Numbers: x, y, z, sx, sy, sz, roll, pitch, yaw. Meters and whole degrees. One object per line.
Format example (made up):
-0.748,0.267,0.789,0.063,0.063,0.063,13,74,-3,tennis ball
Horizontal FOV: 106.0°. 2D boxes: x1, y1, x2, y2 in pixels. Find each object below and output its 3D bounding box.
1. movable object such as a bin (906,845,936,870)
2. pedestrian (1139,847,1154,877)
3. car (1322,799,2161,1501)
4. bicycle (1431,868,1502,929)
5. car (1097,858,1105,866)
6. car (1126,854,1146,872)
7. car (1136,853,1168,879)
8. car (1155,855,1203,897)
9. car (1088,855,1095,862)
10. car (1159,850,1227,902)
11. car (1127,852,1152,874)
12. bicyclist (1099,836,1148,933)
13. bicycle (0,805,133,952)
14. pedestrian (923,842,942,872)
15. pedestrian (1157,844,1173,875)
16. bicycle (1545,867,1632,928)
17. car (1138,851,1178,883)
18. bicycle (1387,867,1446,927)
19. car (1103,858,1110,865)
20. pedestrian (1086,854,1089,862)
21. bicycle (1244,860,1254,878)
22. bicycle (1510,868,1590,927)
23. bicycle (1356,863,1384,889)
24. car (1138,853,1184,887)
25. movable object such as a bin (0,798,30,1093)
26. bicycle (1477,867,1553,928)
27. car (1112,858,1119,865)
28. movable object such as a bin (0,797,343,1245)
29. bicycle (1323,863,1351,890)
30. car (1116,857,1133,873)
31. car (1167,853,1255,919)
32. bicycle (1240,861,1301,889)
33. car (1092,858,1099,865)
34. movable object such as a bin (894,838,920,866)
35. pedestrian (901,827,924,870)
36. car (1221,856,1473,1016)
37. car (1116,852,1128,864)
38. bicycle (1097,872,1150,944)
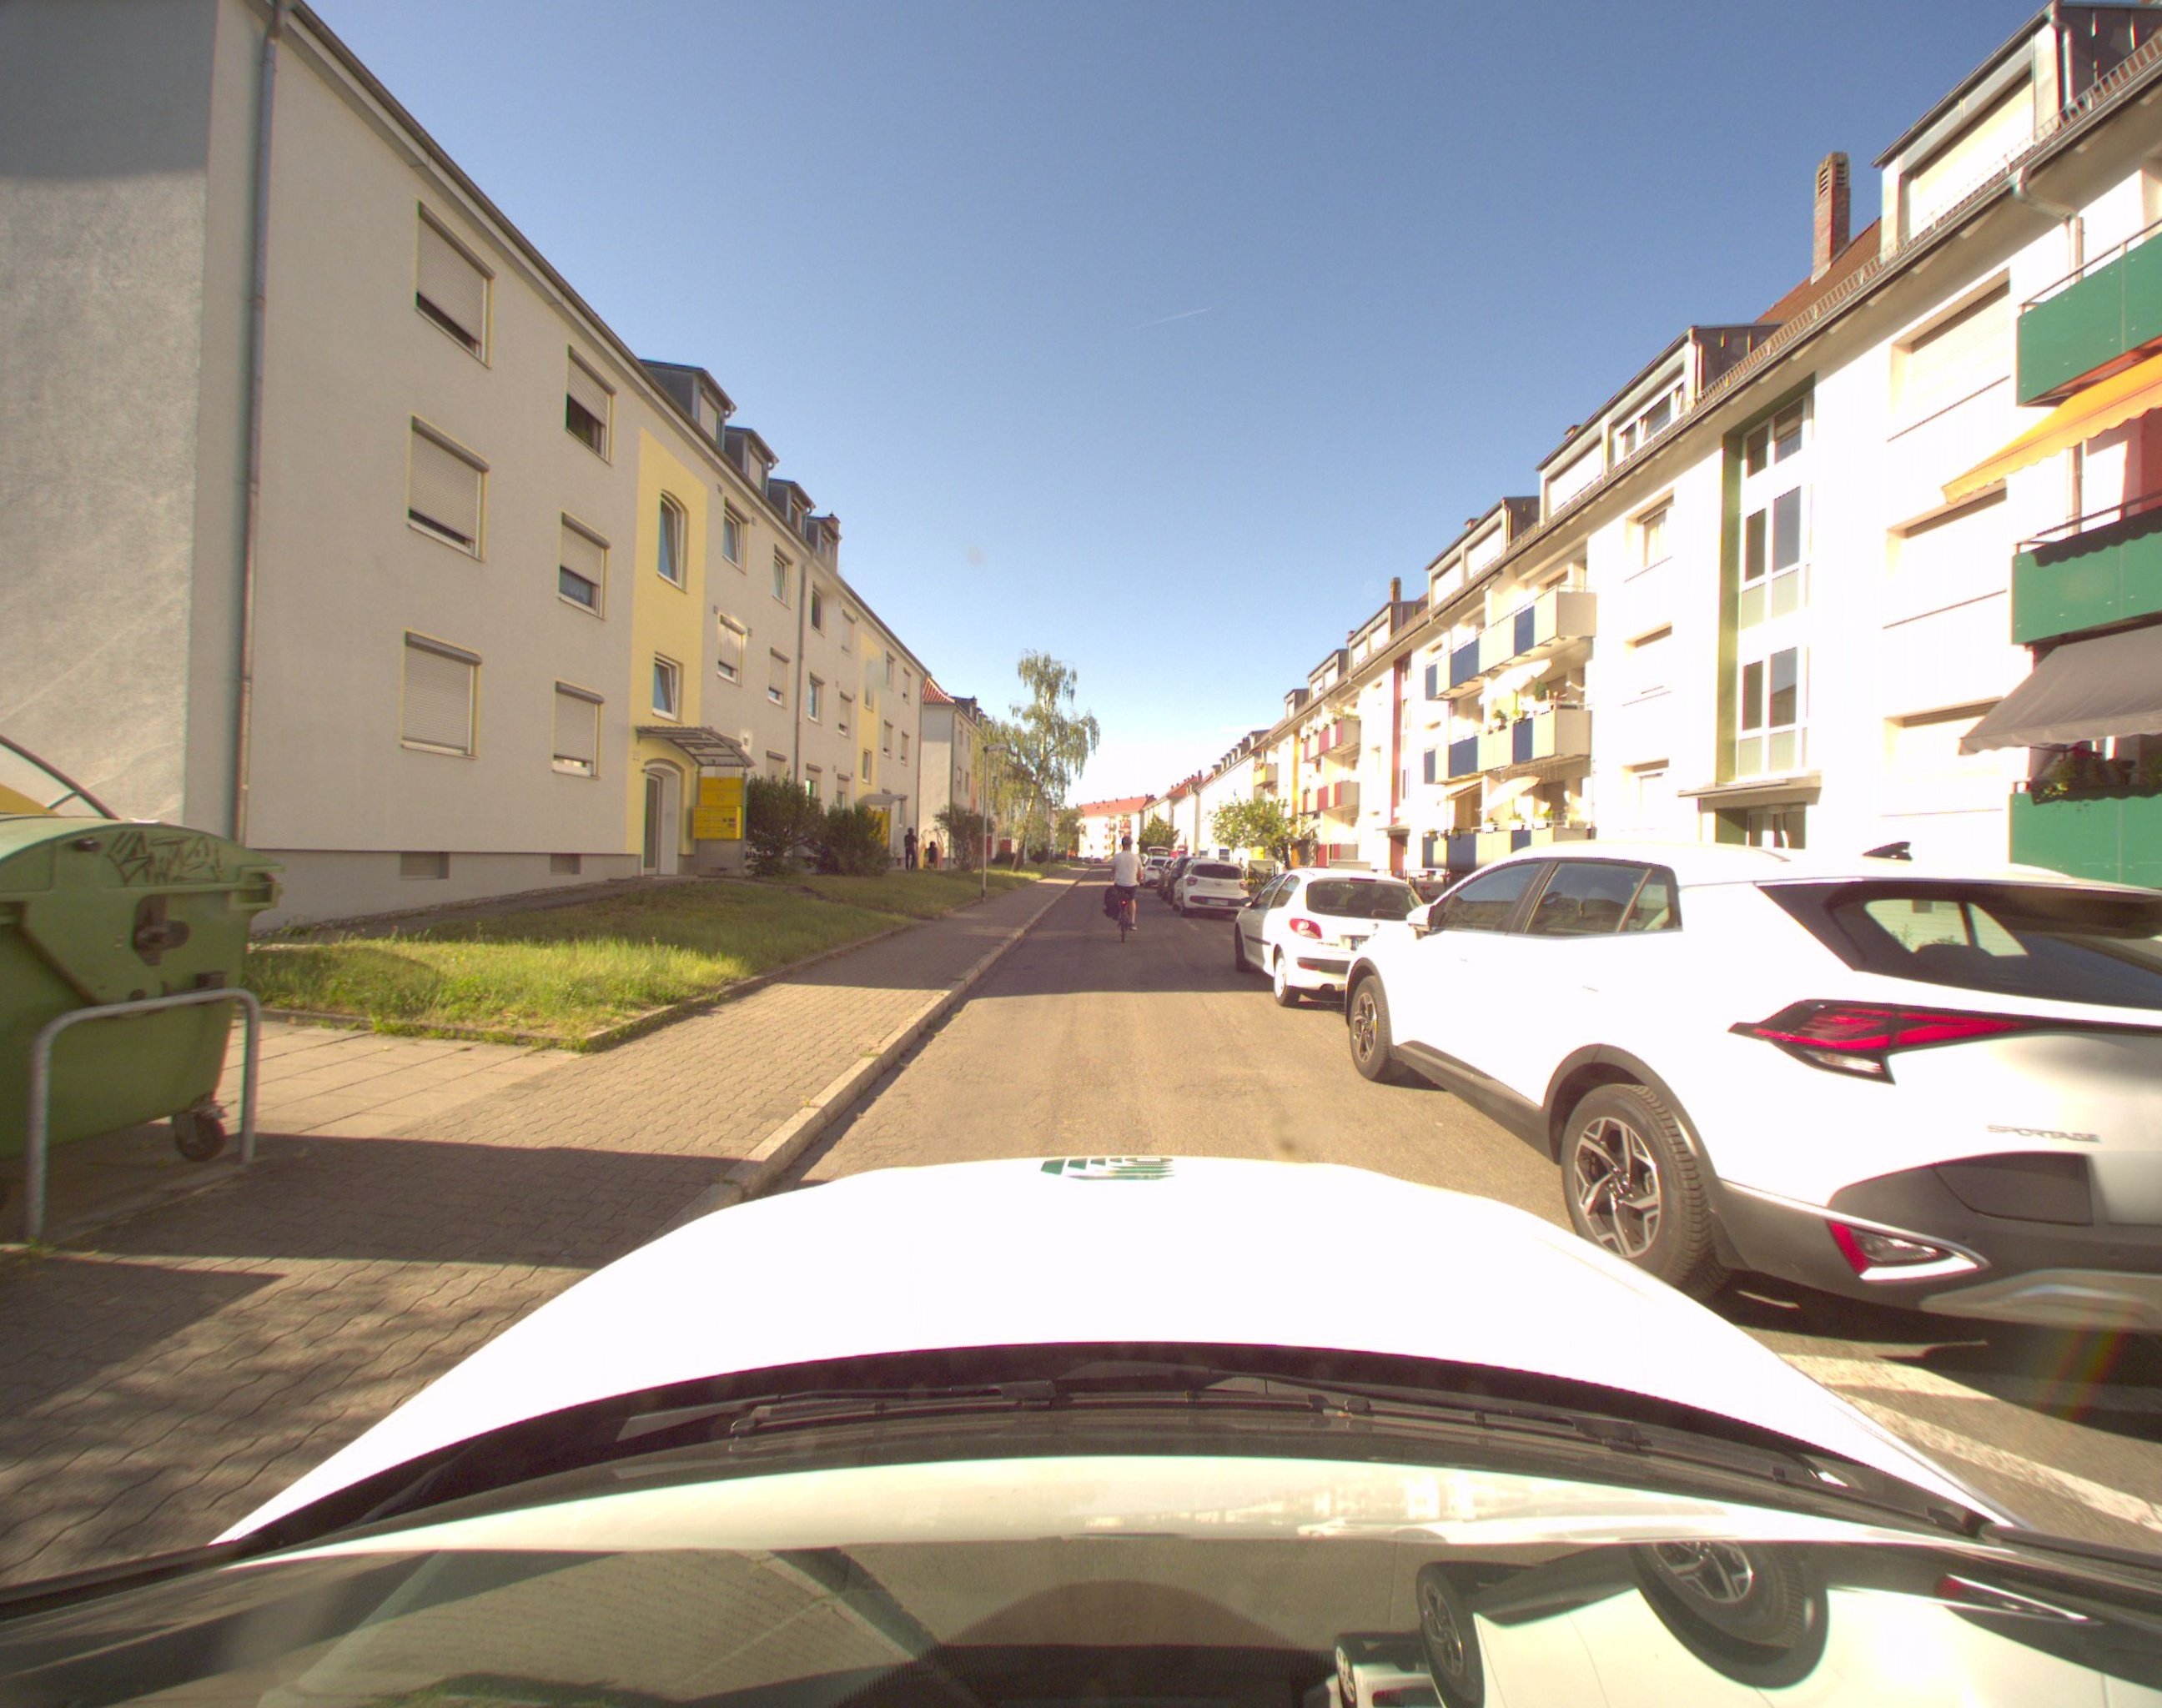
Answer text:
-9.034,0.201,45.982,1.383,1.336,1.228,3,0,1,movable object such as a bin
3.532,0.434,43.924,0.737,1.575,0.880,0,0,1,pedestrian
2.810,0.711,4.176,1.794,1.592,4.582,3,0,1,car
7.721,0.862,16.397,0.575,1.132,1.873,-1,0,1,bicycle
4.068,1.604,162.655,1.465,1.335,3.140,2,0,0,car
4.784,0.752,70.996,1.635,1.498,4.159,1,0,3,car
4.421,0.706,51.243,1.688,1.491,3.984,3,0,1,car
3.826,0.830,32.220,1.639,1.449,4.065,3,0,4,car
2.215,0.956,173.790,1.465,1.335,3.138,-2,0,-2,car
3.618,0.660,26.981,1.717,1.578,4.353,0,0,1,car
4.705,0.701,65.897,1.776,1.648,4.471,3,0,3,car
0.731,0.522,14.357,0.806,1.643,0.898,0,0,-1,bicyclist
-9.482,0.199,6.826,0.638,1.250,2.010,2,0,2,bicycle
-6.508,0.136,35.614,0.683,1.317,0.576,1,-1,2,pedestrian
4.537,0.294,44.058,0.816,1.687,0.604,0,0,1,pedestrian
10.105,0.831,16.298,0.594,1.116,1.873,-1,0,1,bicycle
4.262,0.674,45.814,1.985,1.613,5.000,3,0,4,car
7.034,0.874,17.153,0.542,1.170,1.874,-1,0,3,bicycle
5.964,1.845,191.828,1.465,1.516,3.076,2,0,0,car
1.268,0.750,158.927,0.433,1.574,0.543,0,0,1,pedestrian
10.595,0.926,51.439,0.401,1.087,1.300,0,0,2,bicycle
9.383,0.838,16.367,0.536,1.082,1.873,-2,0,1,bicycle
11.901,0.904,33.627,0.518,1.037,1.976,0,0,2,bicycle
3.861,0.748,40.004,1.766,1.505,4.479,2,0,0,car
-5.652,0.413,3.256,1.350,1.459,1.083,5,0,1,movable object such as a bin
8.668,0.838,16.350,0.542,1.120,1.873,0,0,1,bicycle
7.632,1.664,179.036,1.377,1.497,3.076,0,0,0,car
-4.197,0.529,3.229,1.310,1.459,1.198,5,0,1,movable object such as a bin
10.594,0.900,33.777,0.518,1.049,2.289,-1,0,2,bicycle
5.105,1.291,95.439,1.855,1.668,4.128,3,0,2,car
3.396,0.791,21.867,1.707,1.509,3.854,4,0,1,car
7.958,0.875,34.255,2.411,1.130,0.881,0,0,7,bicycle
2.982,1.488,167.102,1.465,1.335,3.140,0,0,0,car
-8.787,-0.096,41.251,1.080,1.406,0.813,2,0,2,movable object such as a bin
-7.271,-0.229,35.140,0.802,1.824,0.718,1,-1,2,pedestrian
2.899,0.793,9.841,1.685,1.418,4.098,3,0,1,car
6.571,0.655,129.712,1.669,1.738,3.942,2,0,0,car
0.726,0.919,14.546,0.806,1.128,2.101,0,0,-1,bicycle
